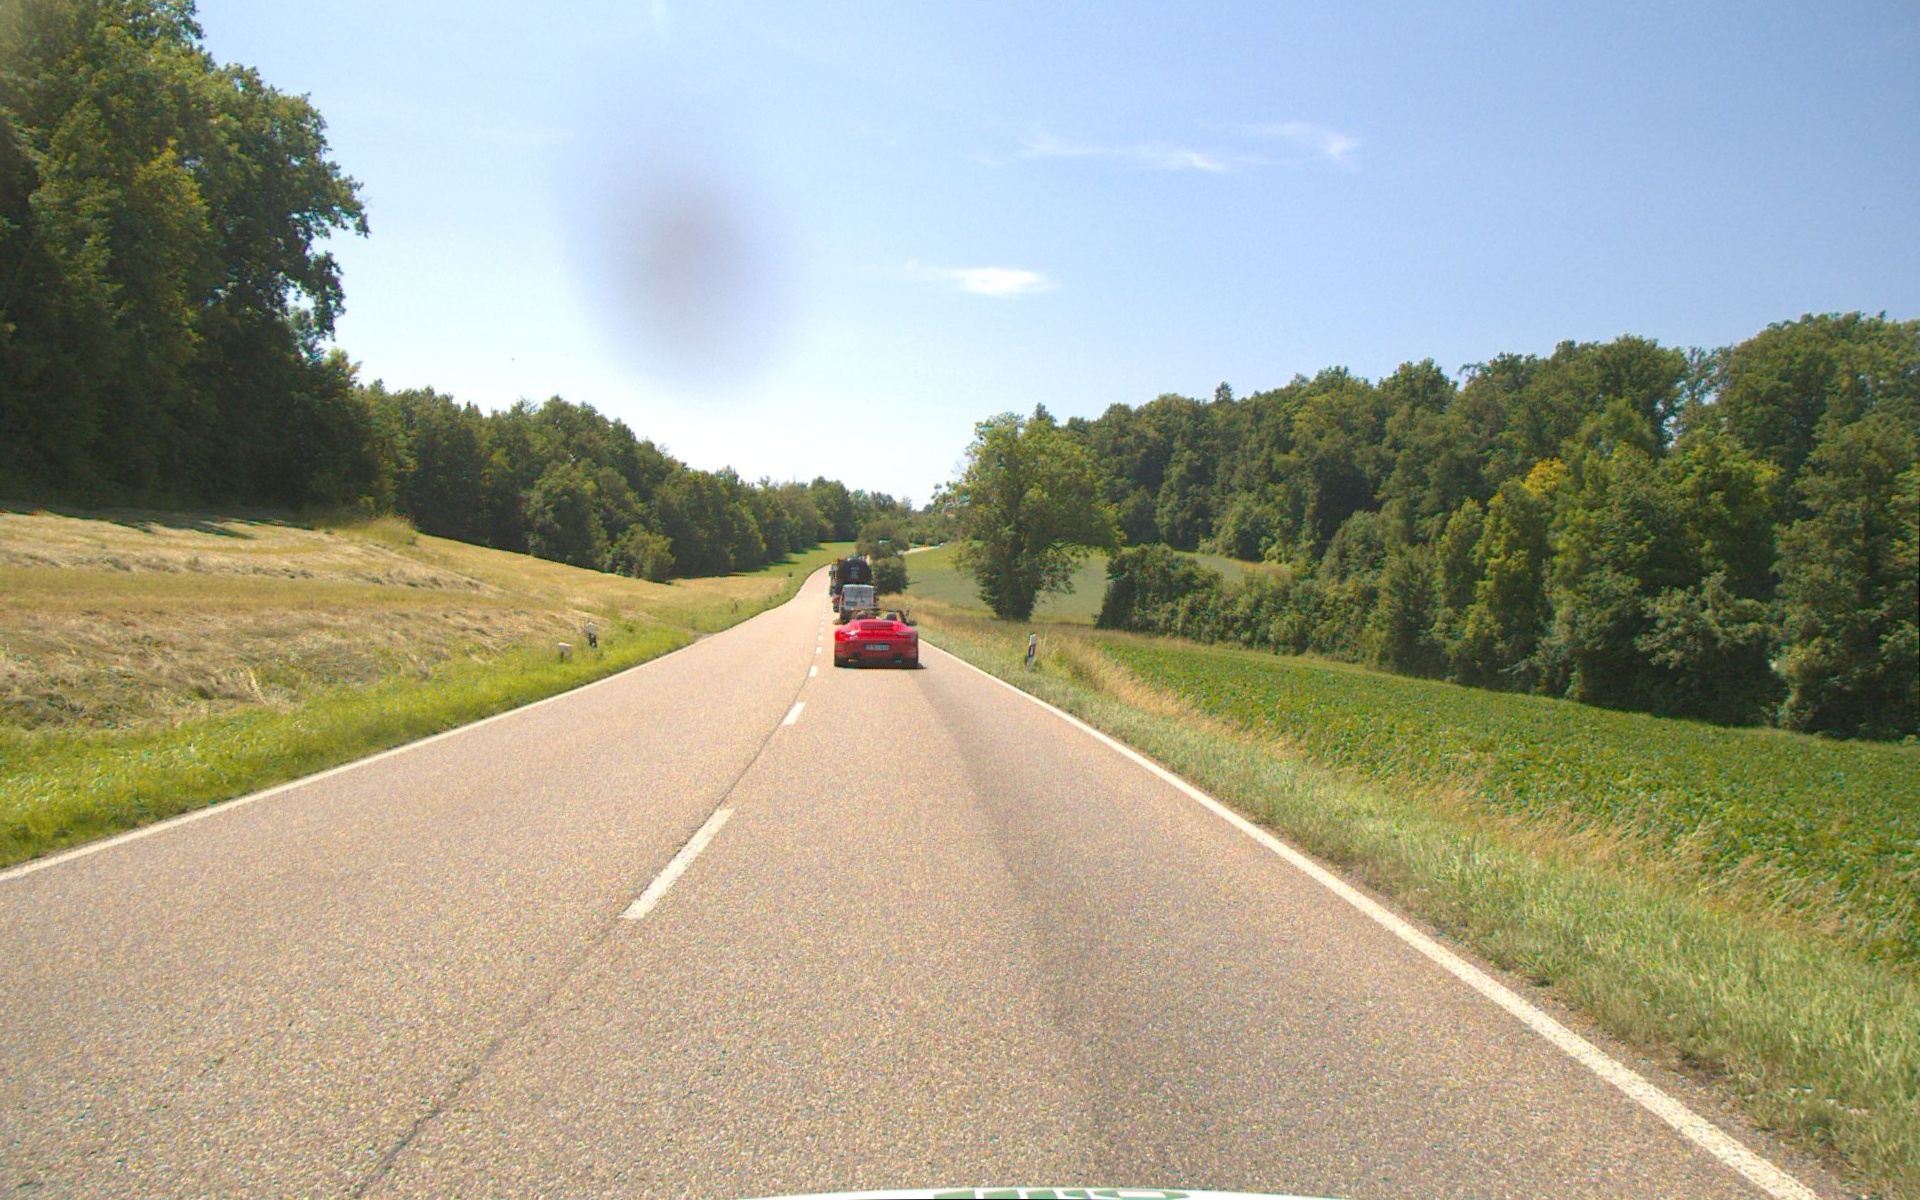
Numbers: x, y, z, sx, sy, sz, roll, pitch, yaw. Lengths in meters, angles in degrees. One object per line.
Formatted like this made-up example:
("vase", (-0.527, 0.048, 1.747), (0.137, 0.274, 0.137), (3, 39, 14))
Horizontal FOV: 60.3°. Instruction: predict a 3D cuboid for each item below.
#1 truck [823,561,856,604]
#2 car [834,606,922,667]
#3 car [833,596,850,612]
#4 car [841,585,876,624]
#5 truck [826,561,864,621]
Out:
("truck", (-15.138, -2.285, 206.530), (3.653, 4.740, 12.019), (1, 3, -6))
("car", (-1.857, 0.770, 36.786), (1.845, 1.277, 4.006), (1, 0, -4))
("car", (-11.964, 0.388, 167.075), (1.689, 1.612, 4.156), (1, 0, -5))
("car", (-5.174, 0.204, 84.615), (1.645, 1.934, 4.008), (0, 1, -2))
("truck", (-8.460, -0.779, 120.725), (2.357, 4.120, 12.537), (1, 1, -6))
